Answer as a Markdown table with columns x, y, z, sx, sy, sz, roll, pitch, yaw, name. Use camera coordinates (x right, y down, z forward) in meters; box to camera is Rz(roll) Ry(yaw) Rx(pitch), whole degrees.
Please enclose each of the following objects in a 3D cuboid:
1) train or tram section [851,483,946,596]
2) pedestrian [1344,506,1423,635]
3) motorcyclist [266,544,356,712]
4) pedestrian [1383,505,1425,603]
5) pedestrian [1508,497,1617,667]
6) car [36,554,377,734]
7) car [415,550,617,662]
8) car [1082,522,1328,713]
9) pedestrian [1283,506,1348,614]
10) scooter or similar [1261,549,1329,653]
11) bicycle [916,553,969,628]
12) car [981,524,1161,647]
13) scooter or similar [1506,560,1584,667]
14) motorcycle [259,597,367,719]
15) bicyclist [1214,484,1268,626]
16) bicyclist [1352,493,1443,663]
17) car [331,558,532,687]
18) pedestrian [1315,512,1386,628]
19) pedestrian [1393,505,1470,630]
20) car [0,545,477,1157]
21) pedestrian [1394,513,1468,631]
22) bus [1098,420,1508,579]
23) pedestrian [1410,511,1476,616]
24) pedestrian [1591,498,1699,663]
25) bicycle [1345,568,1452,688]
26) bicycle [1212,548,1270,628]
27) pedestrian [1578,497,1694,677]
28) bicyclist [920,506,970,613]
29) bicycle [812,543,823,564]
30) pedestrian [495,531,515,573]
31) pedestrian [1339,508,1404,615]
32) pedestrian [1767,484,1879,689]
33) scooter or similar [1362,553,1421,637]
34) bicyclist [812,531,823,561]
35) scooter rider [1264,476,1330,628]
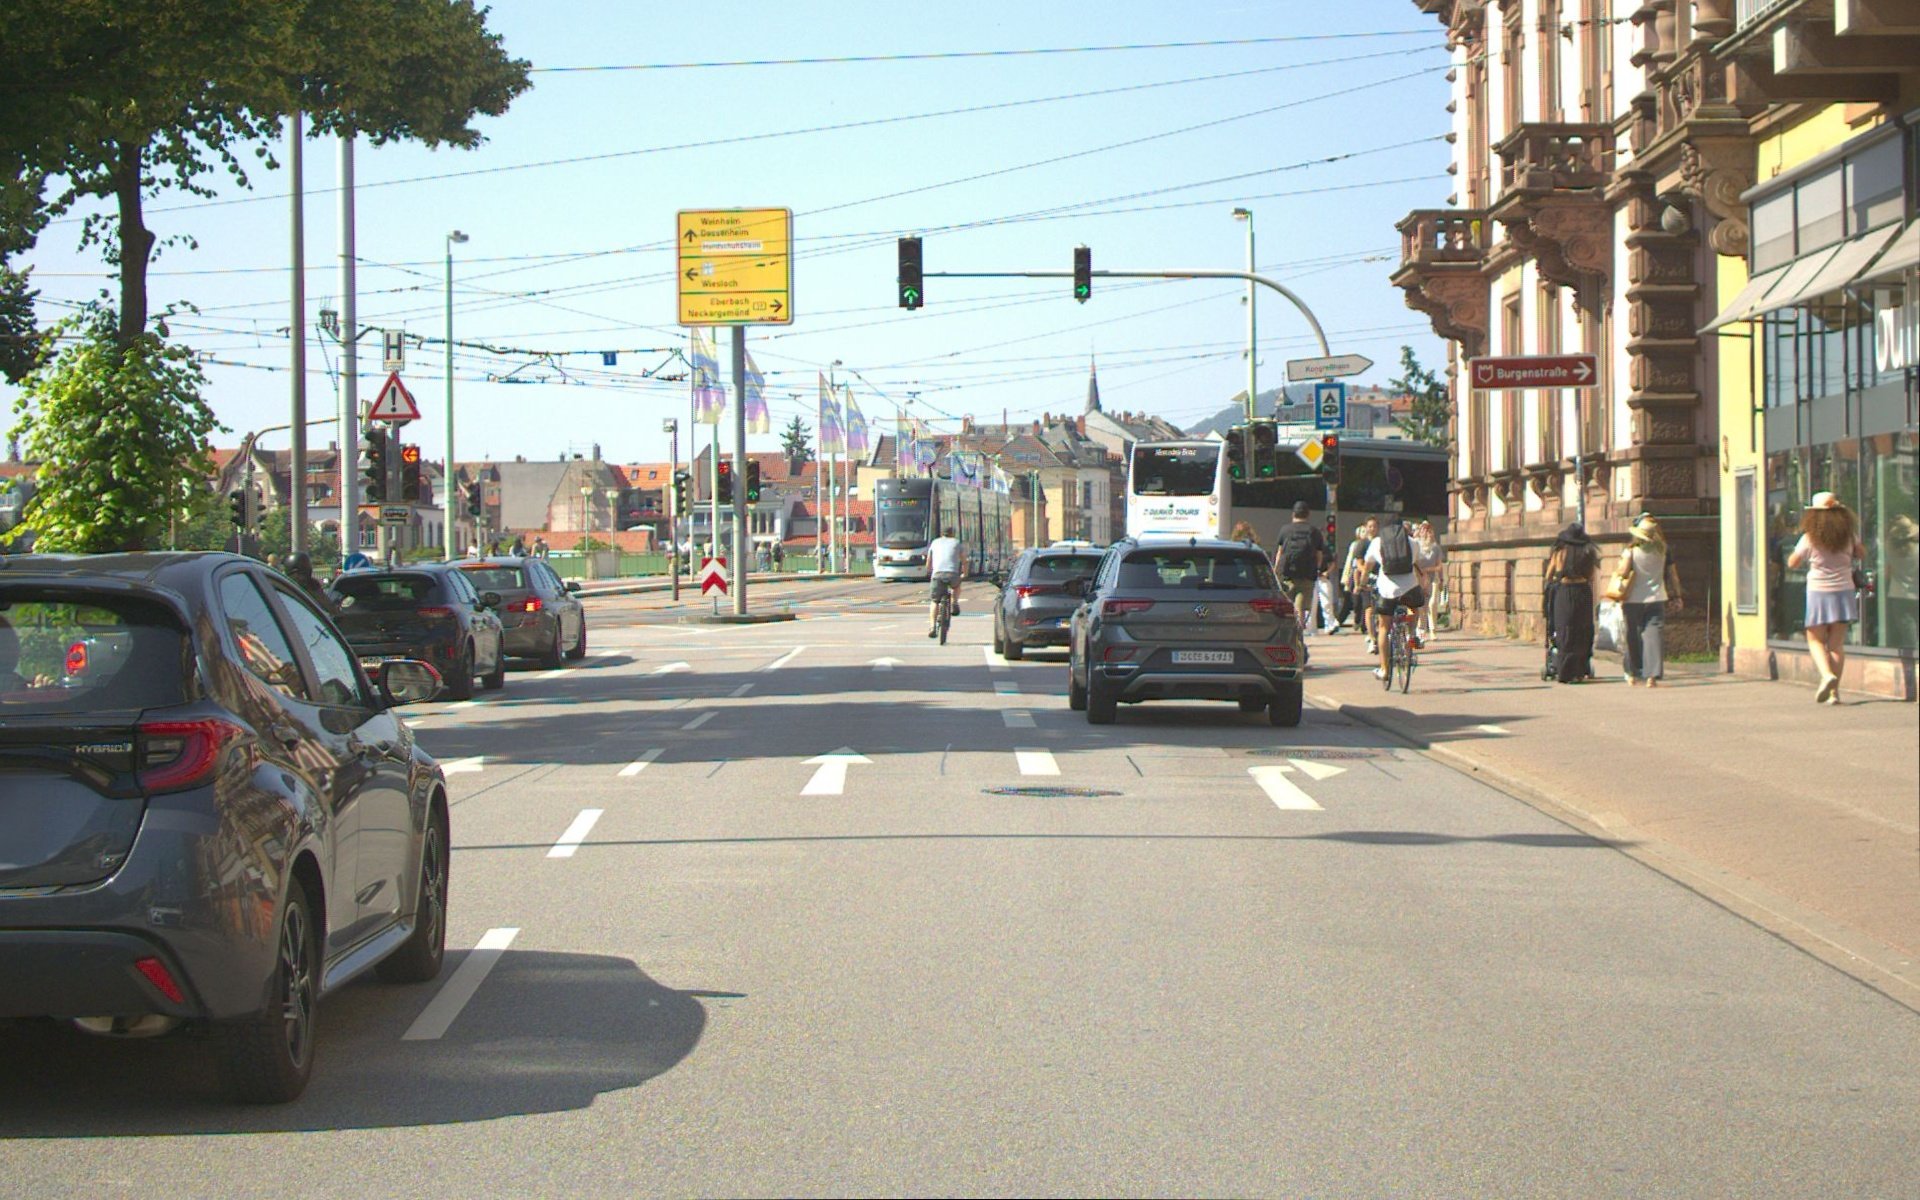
| x | y | z | sx | sy | sz | roll | pitch | yaw | name |
| --- | --- | --- | --- | --- | --- | --- | --- | --- | --- |
| -2.103 | -2.145 | 121.460 | 2.822 | 3.764 | 8.226 | 1 | 1 | 2 | train or tram section |
| 5.492 | -0.381 | 44.588 | 0.862 | 1.634 | 0.876 | 1 | 0 | -1 | pedestrian |
| -6.146 | 0.264 | 32.601 | 0.689 | 1.550 | 0.718 | -2 | -1 | -2 | motorcyclist |
| 7.537 | -0.779 | 58.343 | 0.576 | 1.634 | 0.611 | 1 | 0 | -1 | pedestrian |
| 5.927 | -0.182 | 33.853 | 0.862 | 1.634 | 0.876 | 1 | 0 | -1 | pedestrian |
| -6.065 | 0.316 | 28.106 | 1.815 | 1.328 | 4.000 | 1 | 0 | 1 | car |
| -5.797 | 0.045 | 45.312 | 2.037 | 1.327 | 4.000 | -1 | 1 | 1 | car |
| 2.032 | 0.123 | 29.562 | 1.874 | 1.487 | 4.000 | 1 | 0 | 1 | car |
| 5.510 | -0.618 | 53.333 | 0.862 | 1.634 | 0.876 | 1 | 0 | -1 | pedestrian |
| 3.863 | 0.010 | 39.686 | 0.688 | 1.163 | 1.464 | 1 | 0 | 3 | scooter or similar |
| -0.267 | -0.150 | 51.385 | 0.734 | 1.089 | 1.898 | 1 | 0 | -1 | bicycle |
| 1.382 | -0.197 | 44.524 | 1.993 | 1.487 | 4.000 | 1 | 0 | -3 | car |
| 5.865 | 0.128 | 34.482 | 0.600 | 1.044 | 0.799 | 1 | 0 | -2 | scooter or similar |
| -6.124 | 0.535 | 32.608 | 0.698 | 1.060 | 1.910 | -2 | 1 | -2 | motorcycle |
| 3.927 | -0.624 | 48.091 | 0.688 | 1.955 | 0.778 | 1 | 0 | 3 | bicyclist |
| 4.150 | -0.209 | 32.658 | 0.688 | 1.571 | 1.049 | 1 | 0 | 0 | bicyclist |
| -5.658 | 0.213 | 37.169 | 1.451 | 1.296 | 4.000 | 1 | 0 | 1 | car |
| 5.605 | -0.433 | 49.342 | 0.862 | 1.634 | 0.876 | 1 | 0 | -1 | pedestrian |
| 6.276 | -0.437 | 45.805 | 0.862 | 1.634 | 0.876 | -1 | 1 | -1 | pedestrian |
| -2.581 | 0.613 | 10.366 | 1.777 | 1.470 | 4.000 | -2 | 0 | -2 | car |
| 6.667 | -0.401 | 48.698 | 0.862 | 1.634 | 0.876 | 1 | 0 | -1 | pedestrian |
| 6.725 | -1.866 | 66.186 | 8.618 | 2.767 | 2.977 | 1 | 1 | -45 | bus |
| 7.621 | -0.575 | 54.316 | 0.862 | 1.634 | 0.876 | 1 | 0 | -1 | pedestrian |
| 6.936 | -0.195 | 34.852 | 0.862 | 1.634 | 0.876 | 1 | 0 | -1 | pedestrian |
| 4.143 | 0.253 | 32.614 | 0.734 | 1.089 | 1.898 | 1 | 0 | 0 | bicycle |
| 3.933 | -0.175 | 48.235 | 0.734 | 1.089 | 1.898 | 1 | 0 | 3 | bicycle |
| 6.367 | -0.133 | 32.429 | 0.862 | 1.634 | 0.876 | -2 | 2 | -1 | pedestrian |
| -0.232 | -0.600 | 51.296 | 0.688 | 1.571 | 1.049 | 1 | 0 | -1 | bicyclist |
| -7.506 | -2.445 | 180.956 | 0.558 | 1.121 | 1.223 | 1 | 0 | -2 | bicycle |
| -15.114 | -1.592 | 114.146 | 0.558 | 1.411 | 0.636 | 1 | 0 | -2 | pedestrian |
| 6.425 | -0.601 | 53.717 | 0.862 | 1.634 | 0.876 | 1 | 0 | -1 | pedestrian |
| 6.978 | -0.118 | 27.824 | 0.654 | 1.615 | 0.815 | -1 | 1 | -1 | pedestrian |
| 5.505 | -0.069 | 43.884 | 0.600 | 1.044 | 0.799 | 1 | 0 | -2 | scooter or similar |
| -7.492 | -2.829 | 180.909 | 0.558 | 1.531 | 0.743 | 1 | 0 | -2 | bicyclist |
| 3.892 | -0.552 | 39.719 | 0.688 | 1.723 | 0.778 | 1 | 0 | 3 | scooter rider |
